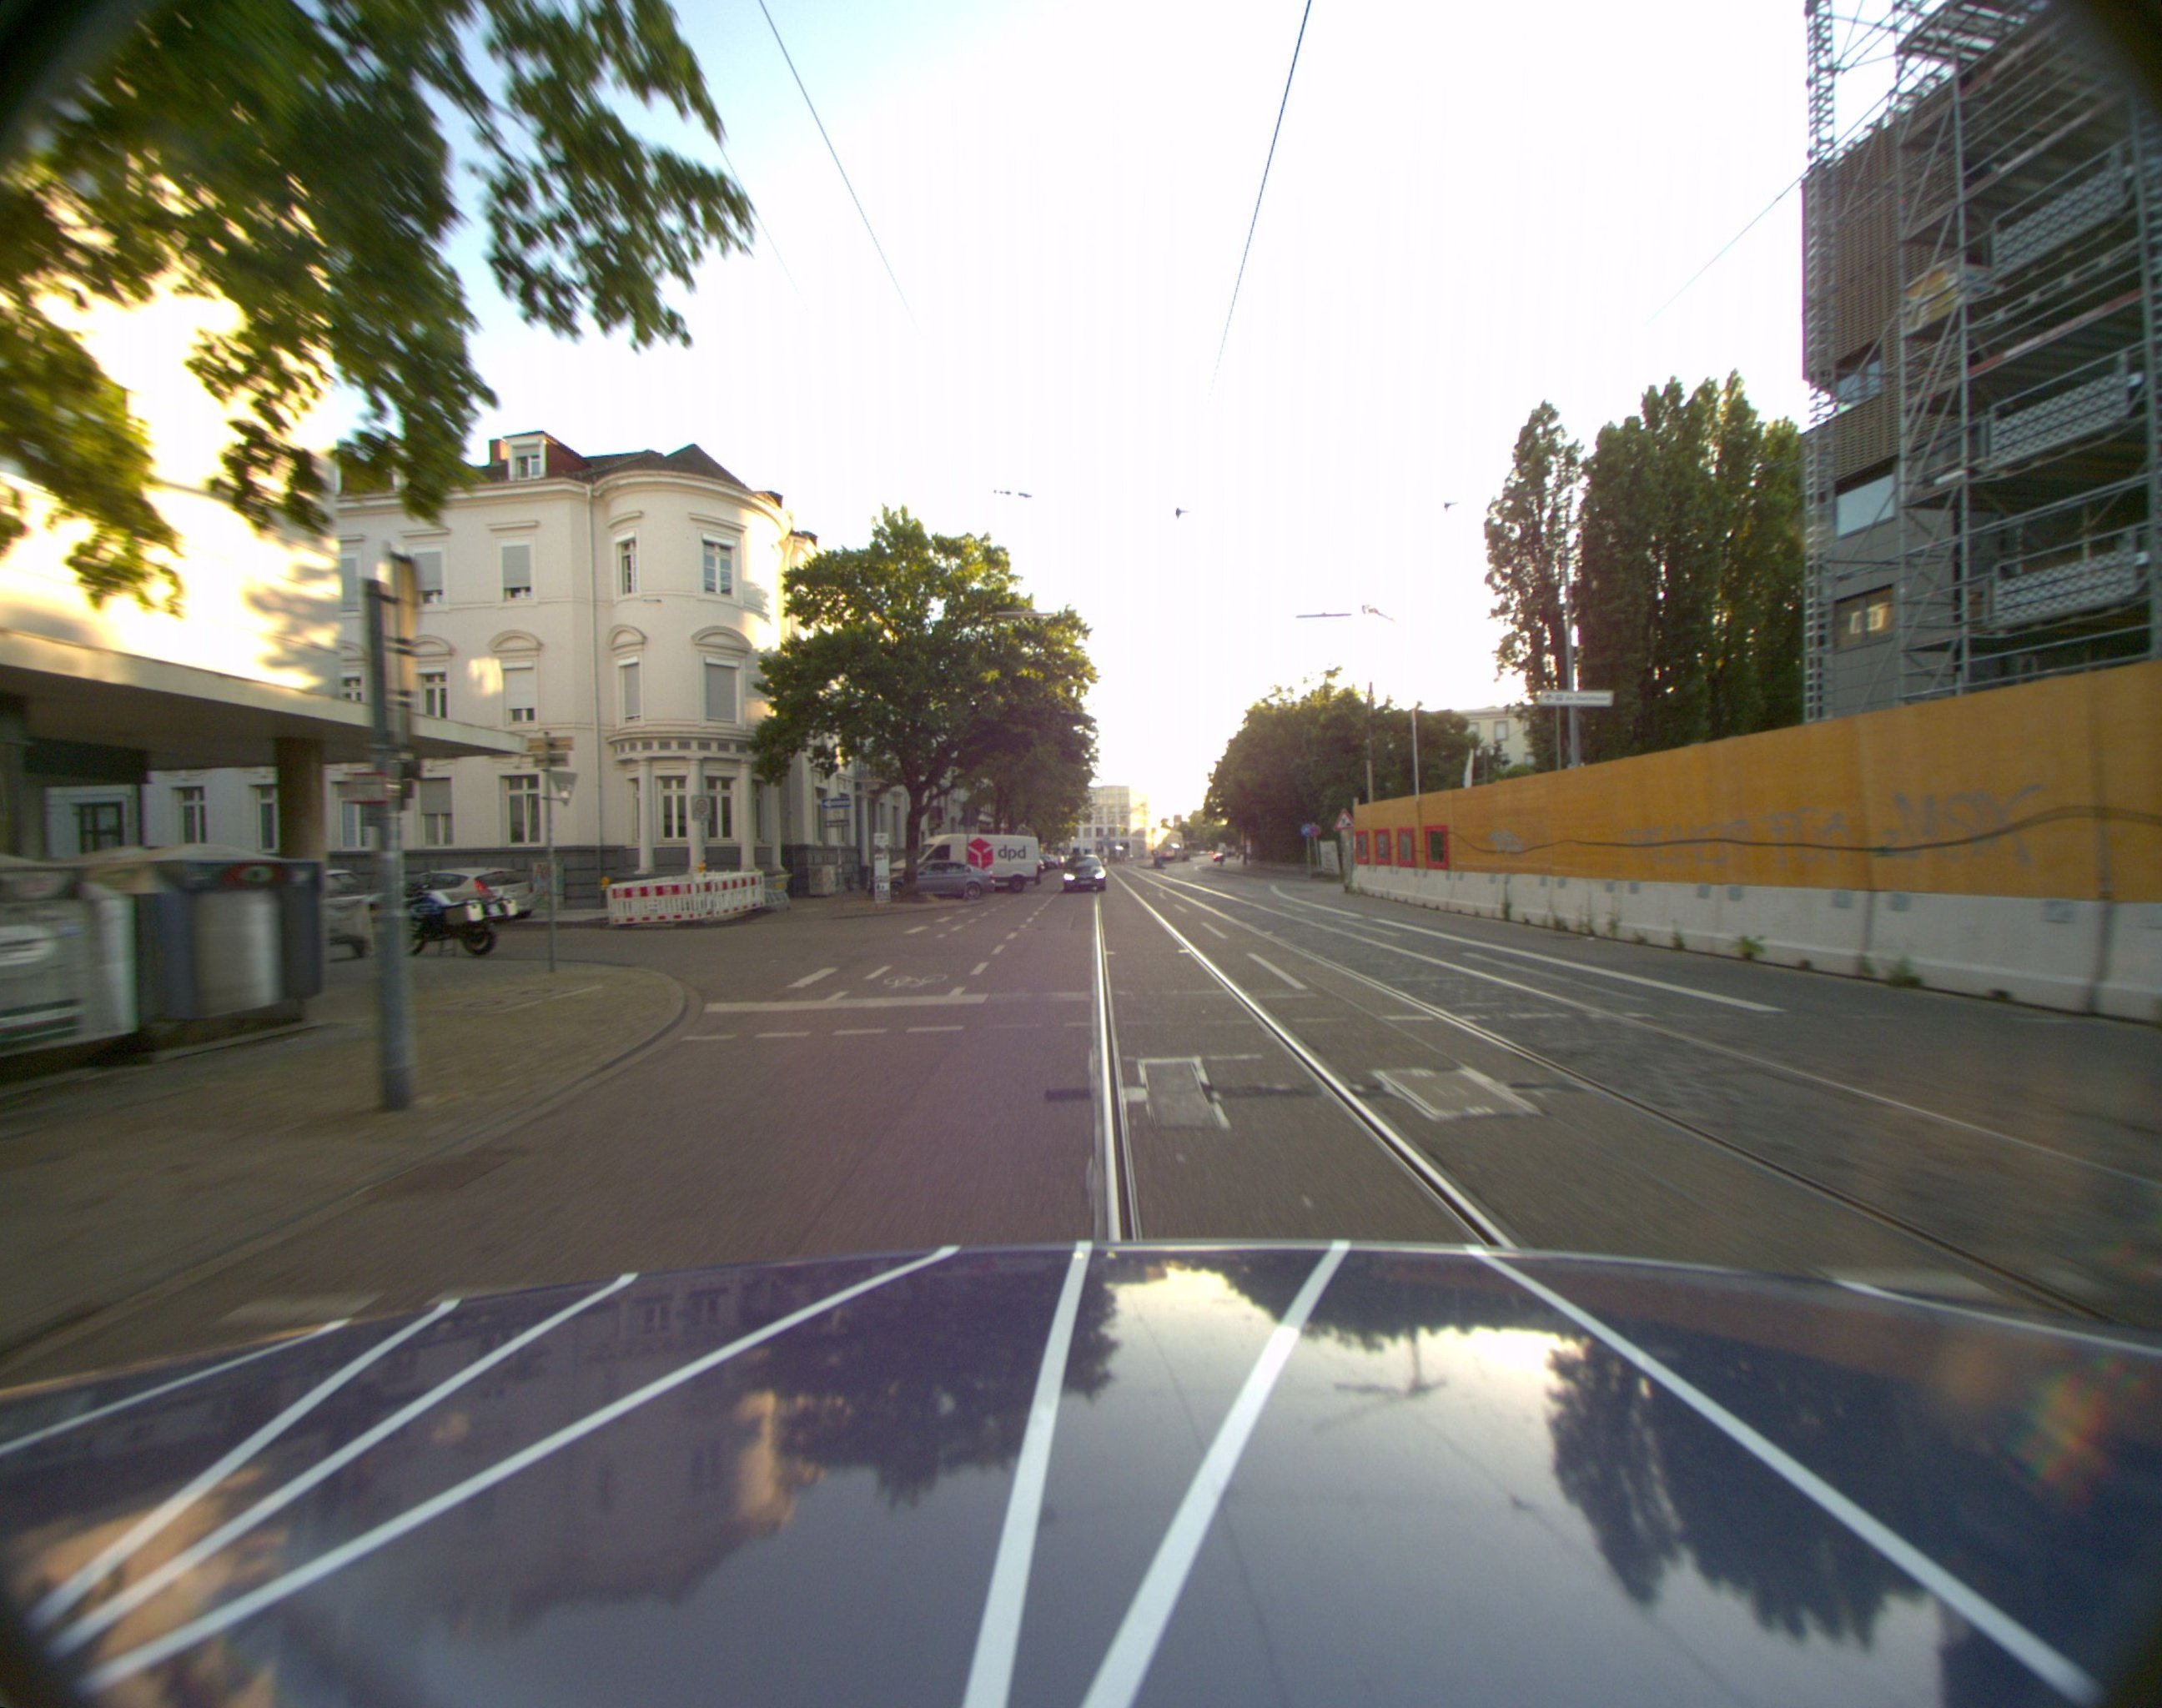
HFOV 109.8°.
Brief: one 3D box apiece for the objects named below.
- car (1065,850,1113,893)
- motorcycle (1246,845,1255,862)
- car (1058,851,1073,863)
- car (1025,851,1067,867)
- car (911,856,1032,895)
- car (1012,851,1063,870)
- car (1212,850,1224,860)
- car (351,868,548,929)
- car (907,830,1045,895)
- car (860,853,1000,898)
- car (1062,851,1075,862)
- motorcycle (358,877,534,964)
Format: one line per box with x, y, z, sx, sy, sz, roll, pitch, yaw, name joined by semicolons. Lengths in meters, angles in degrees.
0.377;0.722;33.372;1.840;1.631;4.169;-4;0;1;car
24.734;-0.139;110.879;1.022;2.429;2.669;-1;0;9;motorcycle
-2.198;0.380;109.433;1.741;1.600;3.823;-1;0;6;car
-3.780;0.507;82.443;4.217;1.600;1.739;-1;1;-28;car
-4.423;0.843;30.788;4.414;1.436;1.983;1;0;-29;car
-3.888;0.561;68.435;4.217;1.600;1.699;-1;1;-28;car
25.294;0.156;140.245;1.997;1.674;4.003;-1;0;11;car
-16.795;1.162;20.327;3.893;1.482;1.855;-1;0;7;car
-4.589;0.325;33.782;5.650;2.678;2.166;-1;0;-33;car
-5.419;0.789;27.354;4.614;1.504;1.858;1;-1;-26;car
-1.871;0.360;114.382;1.742;1.600;3.822;-1;0;2;car
-11.259;1.166;13.539;2.095;1.397;1.290;-1;1;8;motorcycle
